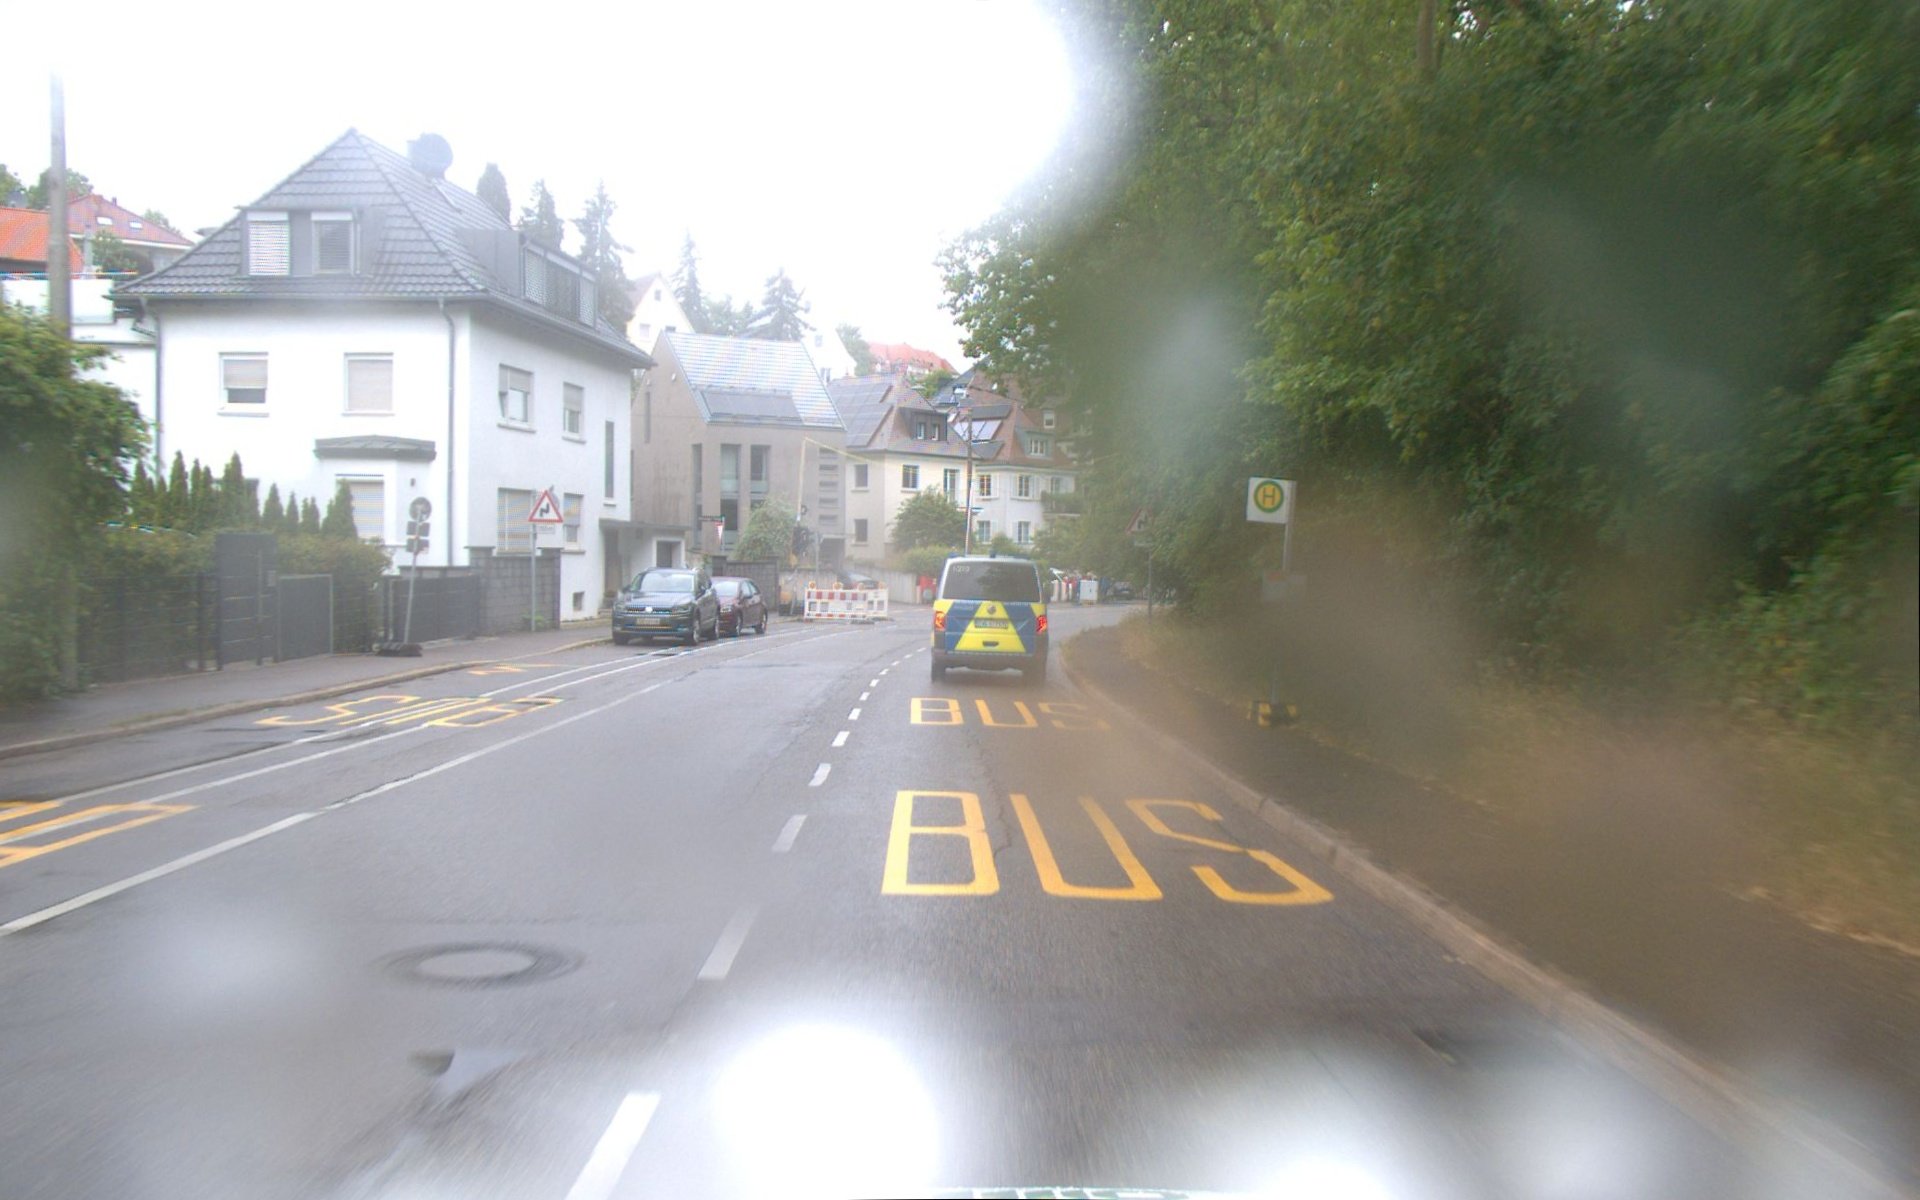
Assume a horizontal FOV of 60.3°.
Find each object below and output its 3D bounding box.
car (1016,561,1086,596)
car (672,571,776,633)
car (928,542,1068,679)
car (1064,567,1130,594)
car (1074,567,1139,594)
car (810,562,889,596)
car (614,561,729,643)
[{"bbox_3d":[5.591,-1.337,101.740,3.913,2.048,1.827,2,1,30],"label":"car"},{"bbox_3d":[-5.993,0.007,42.480,1.582,1.465,4.234,1,2,7],"label":"car"},{"bbox_3d":[0.711,0.116,27.265,1.951,2.048,4.405,-1,1,5],"label":"car"},{"bbox_3d":[8.967,-1.307,108.466,3.912,1.512,1.757,3,0,29],"label":"car"},{"bbox_3d":[9.789,-1.293,110.458,3.912,1.512,1.757,3,0,29],"label":"car"},{"bbox_3d":[-5.242,-1.000,78.389,1.821,1.468,3.945,0,2,-38],"label":"car"},{"bbox_3d":[-6.375,-0.005,37.024,1.718,1.687,4.406,-1,1,1],"label":"car"}]
